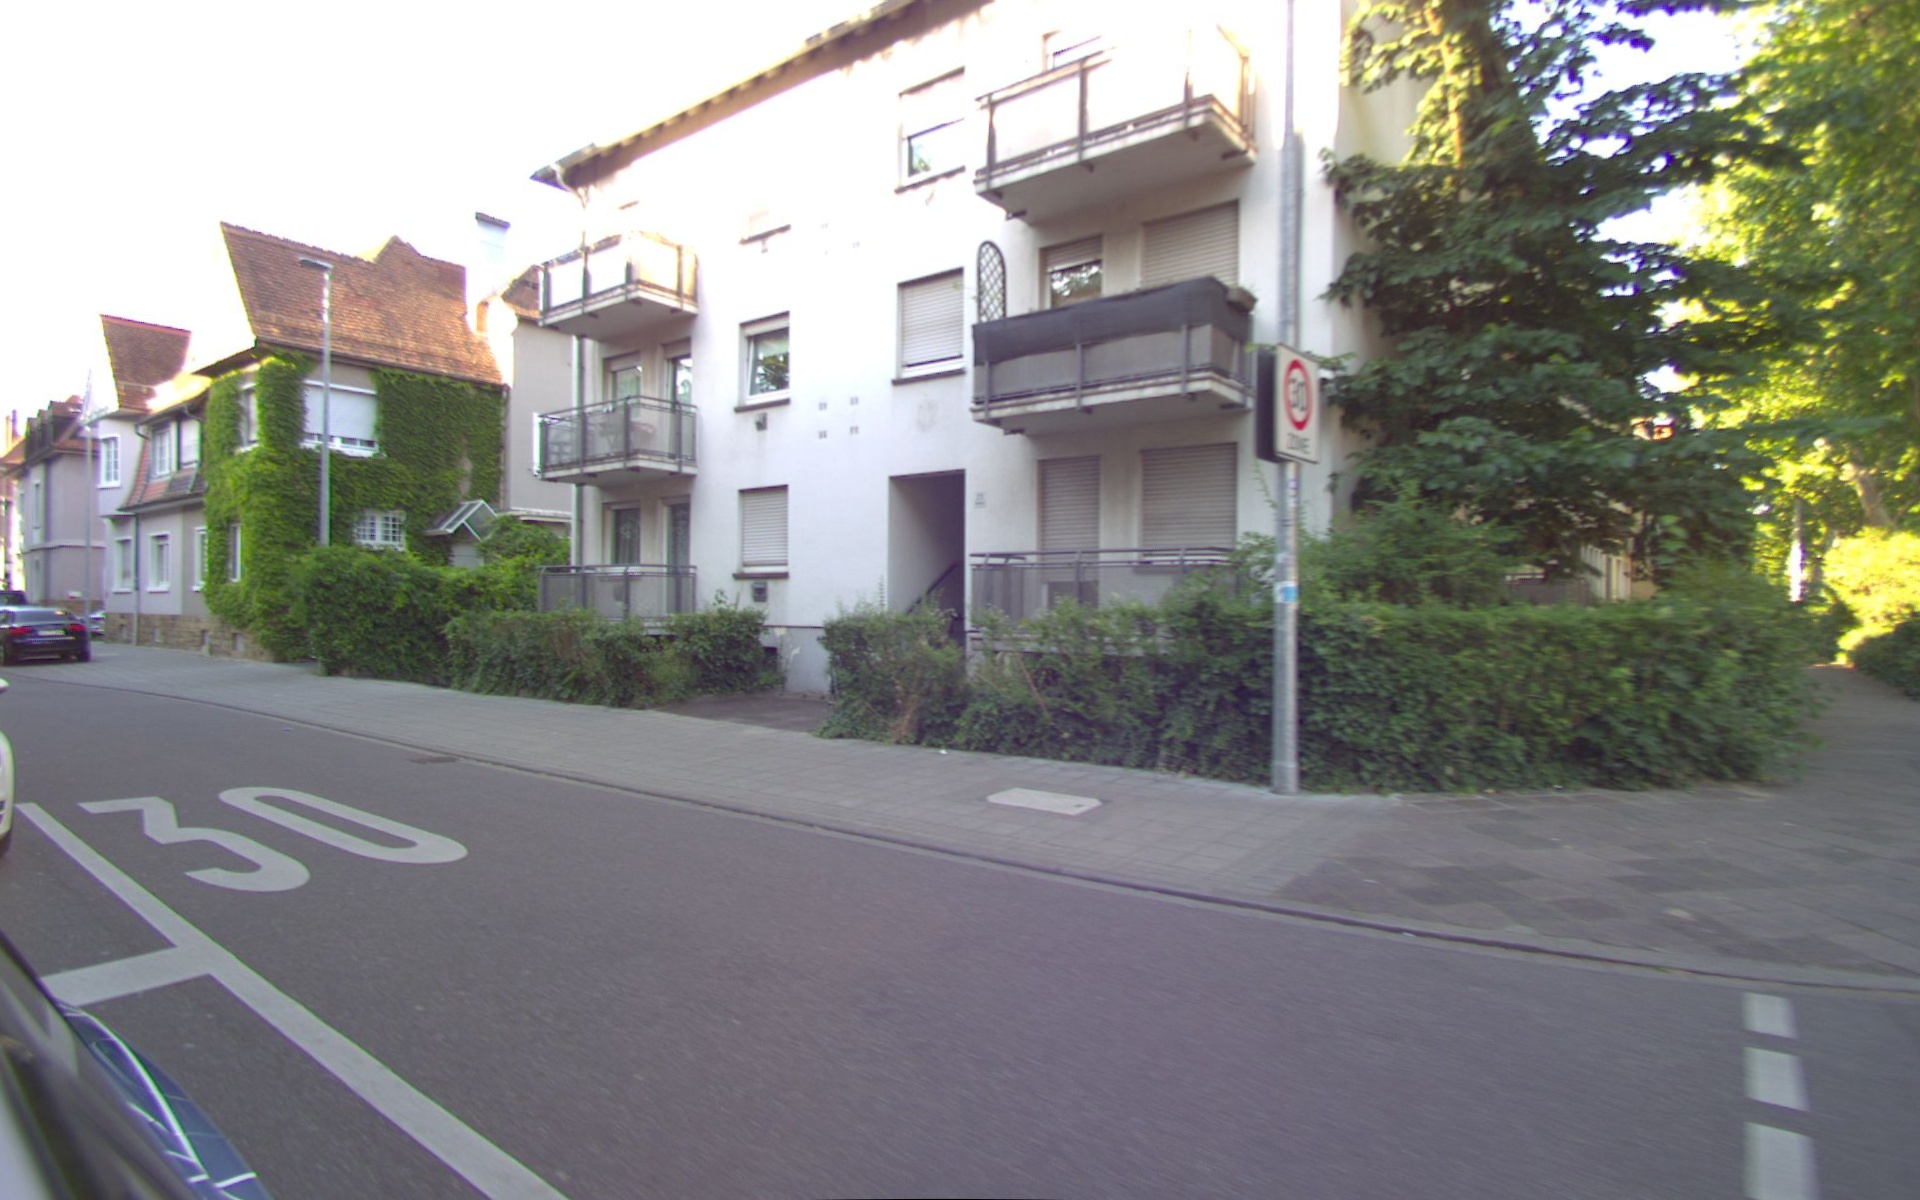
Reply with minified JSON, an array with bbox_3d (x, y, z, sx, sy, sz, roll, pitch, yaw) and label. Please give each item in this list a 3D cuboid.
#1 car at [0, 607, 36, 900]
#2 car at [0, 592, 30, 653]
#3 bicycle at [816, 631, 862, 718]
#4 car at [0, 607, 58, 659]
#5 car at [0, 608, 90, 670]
[{"bbox_3d":[-6.882,0.781,5.793,4.107,1.461,1.820,0,0,40],"label":"car"},{"bbox_3d":[-32.199,0.725,33.300,4.285,1.920,1.798,-1,0,40],"label":"car"},{"bbox_3d":[-1.630,0.980,13.783,0.470,1.027,1.609,0,2,-2],"label":"bicycle"},{"bbox_3d":[-28.652,0.959,30.456,3.996,1.465,1.671,-1,0,40],"label":"car"},{"bbox_3d":[-24.151,0.951,26.317,3.996,1.465,1.671,-1,0,40],"label":"car"}]
